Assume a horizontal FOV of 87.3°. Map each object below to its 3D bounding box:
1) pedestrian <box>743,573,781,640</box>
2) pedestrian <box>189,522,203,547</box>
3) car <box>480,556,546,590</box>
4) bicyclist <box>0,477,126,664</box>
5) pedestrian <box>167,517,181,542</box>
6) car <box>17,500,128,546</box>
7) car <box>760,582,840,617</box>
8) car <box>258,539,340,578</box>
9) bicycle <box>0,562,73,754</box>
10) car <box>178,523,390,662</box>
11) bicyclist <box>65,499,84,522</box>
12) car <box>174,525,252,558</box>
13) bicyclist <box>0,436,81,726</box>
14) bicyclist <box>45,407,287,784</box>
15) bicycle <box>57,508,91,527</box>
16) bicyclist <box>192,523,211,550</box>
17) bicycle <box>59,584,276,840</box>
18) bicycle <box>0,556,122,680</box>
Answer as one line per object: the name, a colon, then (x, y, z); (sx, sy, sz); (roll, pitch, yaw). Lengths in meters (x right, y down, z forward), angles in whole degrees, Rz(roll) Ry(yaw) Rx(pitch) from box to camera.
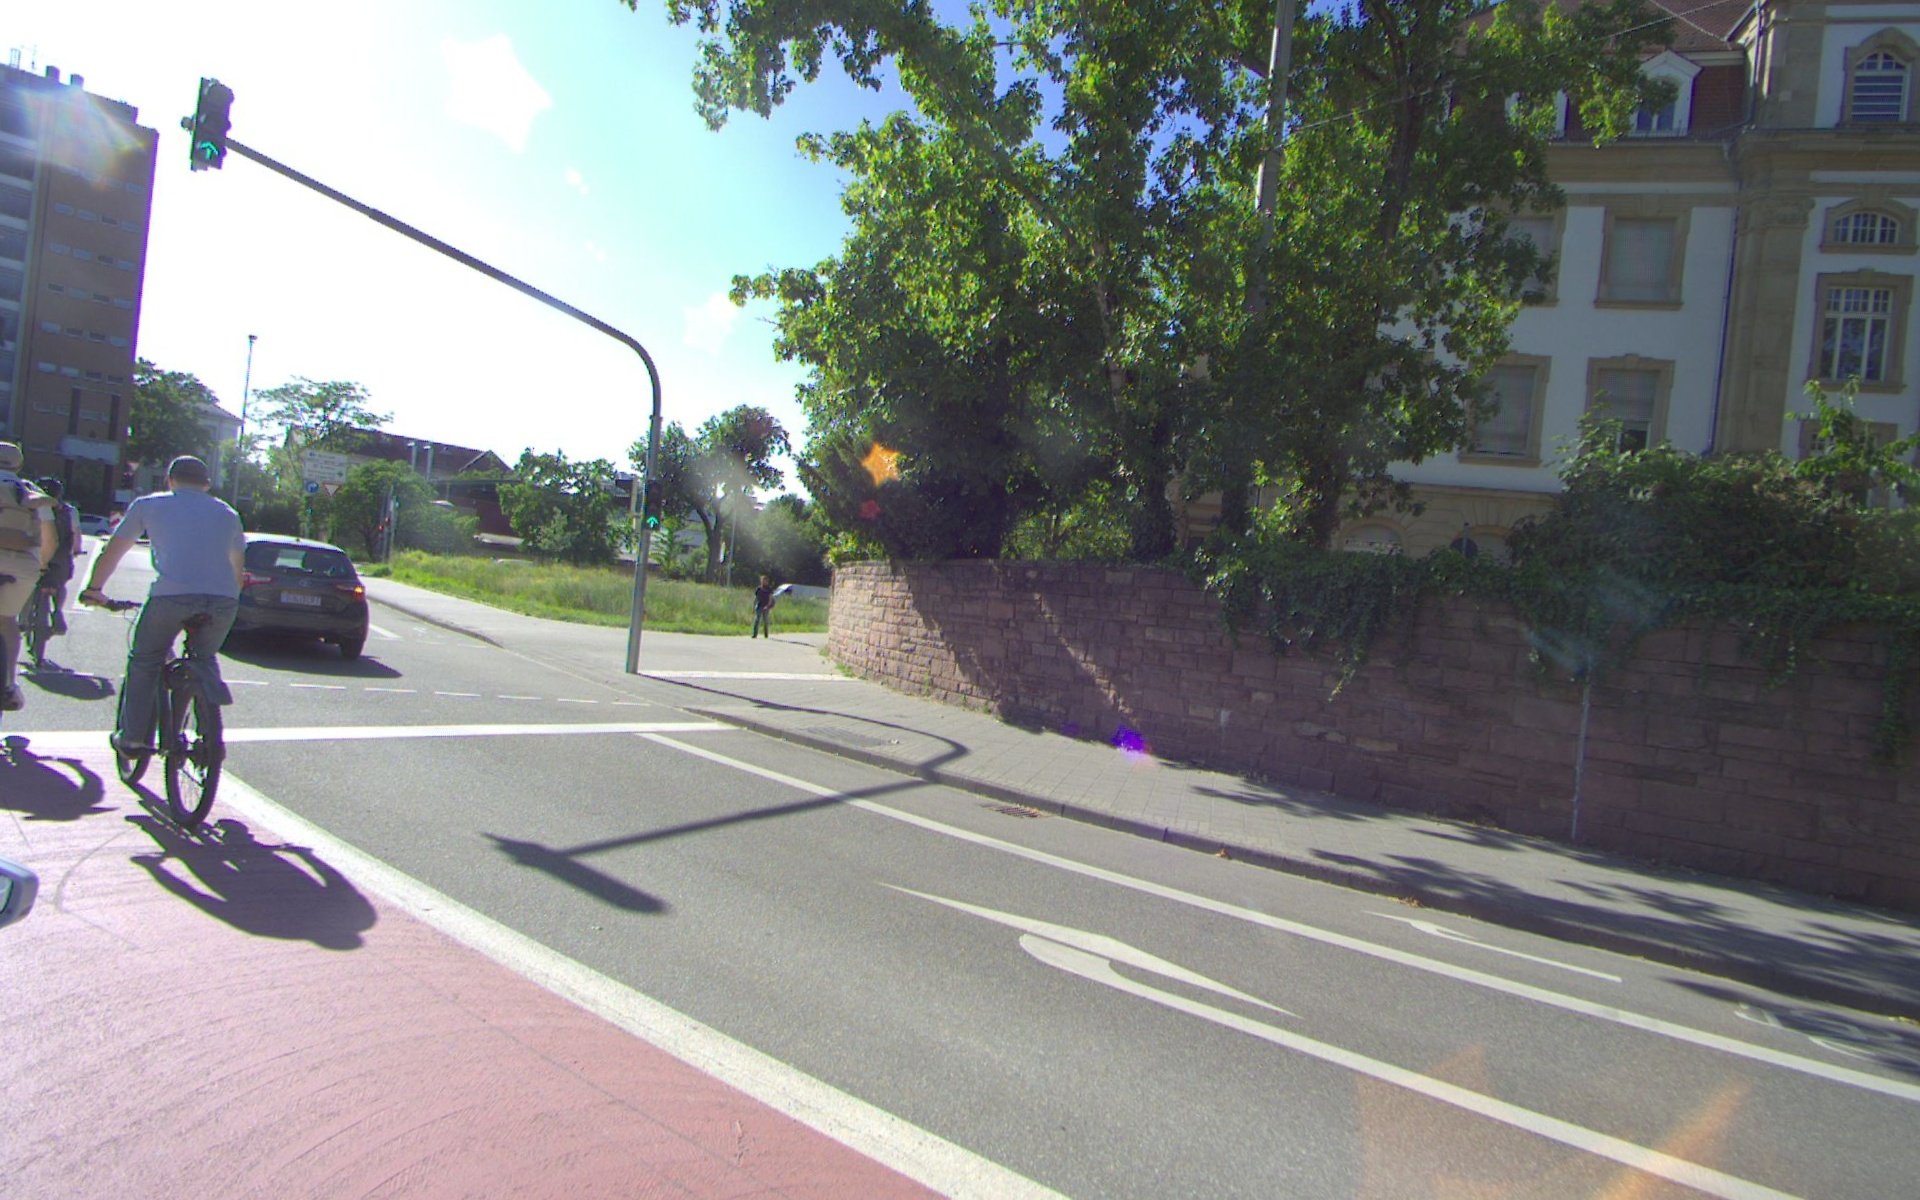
pedestrian: (-5.806, 0.185, 29.499); (0.746, 1.855, 1.049); (5, 1, 0)
pedestrian: (-54.172, -4.670, 71.366); (0.551, 1.689, 0.474); (6, -1, -25)
car: (-34.877, -2.086, 78.534); (4.316, 2.037, 1.985); (7, -2, -31)
bicyclist: (-8.652, -0.287, 9.641); (1.040, 1.645, 0.721); (6, -1, 42)
pedestrian: (-56.234, -5.013, 71.995); (0.555, 1.689, 0.474); (6, -1, -25)
car: (-54.288, -4.686, 61.670); (4.617, 2.037, 1.985); (7, -2, -31)
car: (-14.935, -0.039, 94.113); (7.110, 2.453, 2.054); (7, 0, -35)
car: (-44.377, -2.768, 67.657); (4.341, 2.037, 1.985); (7, -2, -31)
bicycle: (-6.447, 0.306, 6.564); (1.864, 1.059, 0.662); (6, -2, 41)
car: (-9.481, -0.146, 14.004); (1.751, 1.559, 3.614); (8, -2, -44)
bicyclist: (-62.283, -6.293, 70.732); (0.811, 1.462, 0.614); (6, 0, -34)
car: (-50.514, -3.911, 68.109); (3.865, 1.604, 1.867); (7, -2, -30)
bicyclist: (-6.291, -0.159, 6.466); (0.991, 1.767, 0.663); (7, -1, 41)
bicyclist: (-4.267, -0.017, 5.396); (1.001, 1.797, 0.748); (6, -1, 44)
bicycle: (-62.308, -5.764, 70.743); (1.655, 1.106, 0.605); (6, 1, -34)
bicyclist: (-55.909, -4.673, 74.172); (0.850, 1.868, 0.845); (6, -1, -32)
bicycle: (-4.369, 0.537, 5.492); (1.806, 1.090, 0.609); (5, -1, 44)
bicycle: (-8.726, 0.145, 9.651); (1.858, 0.971, 0.721); (6, -1, 42)
